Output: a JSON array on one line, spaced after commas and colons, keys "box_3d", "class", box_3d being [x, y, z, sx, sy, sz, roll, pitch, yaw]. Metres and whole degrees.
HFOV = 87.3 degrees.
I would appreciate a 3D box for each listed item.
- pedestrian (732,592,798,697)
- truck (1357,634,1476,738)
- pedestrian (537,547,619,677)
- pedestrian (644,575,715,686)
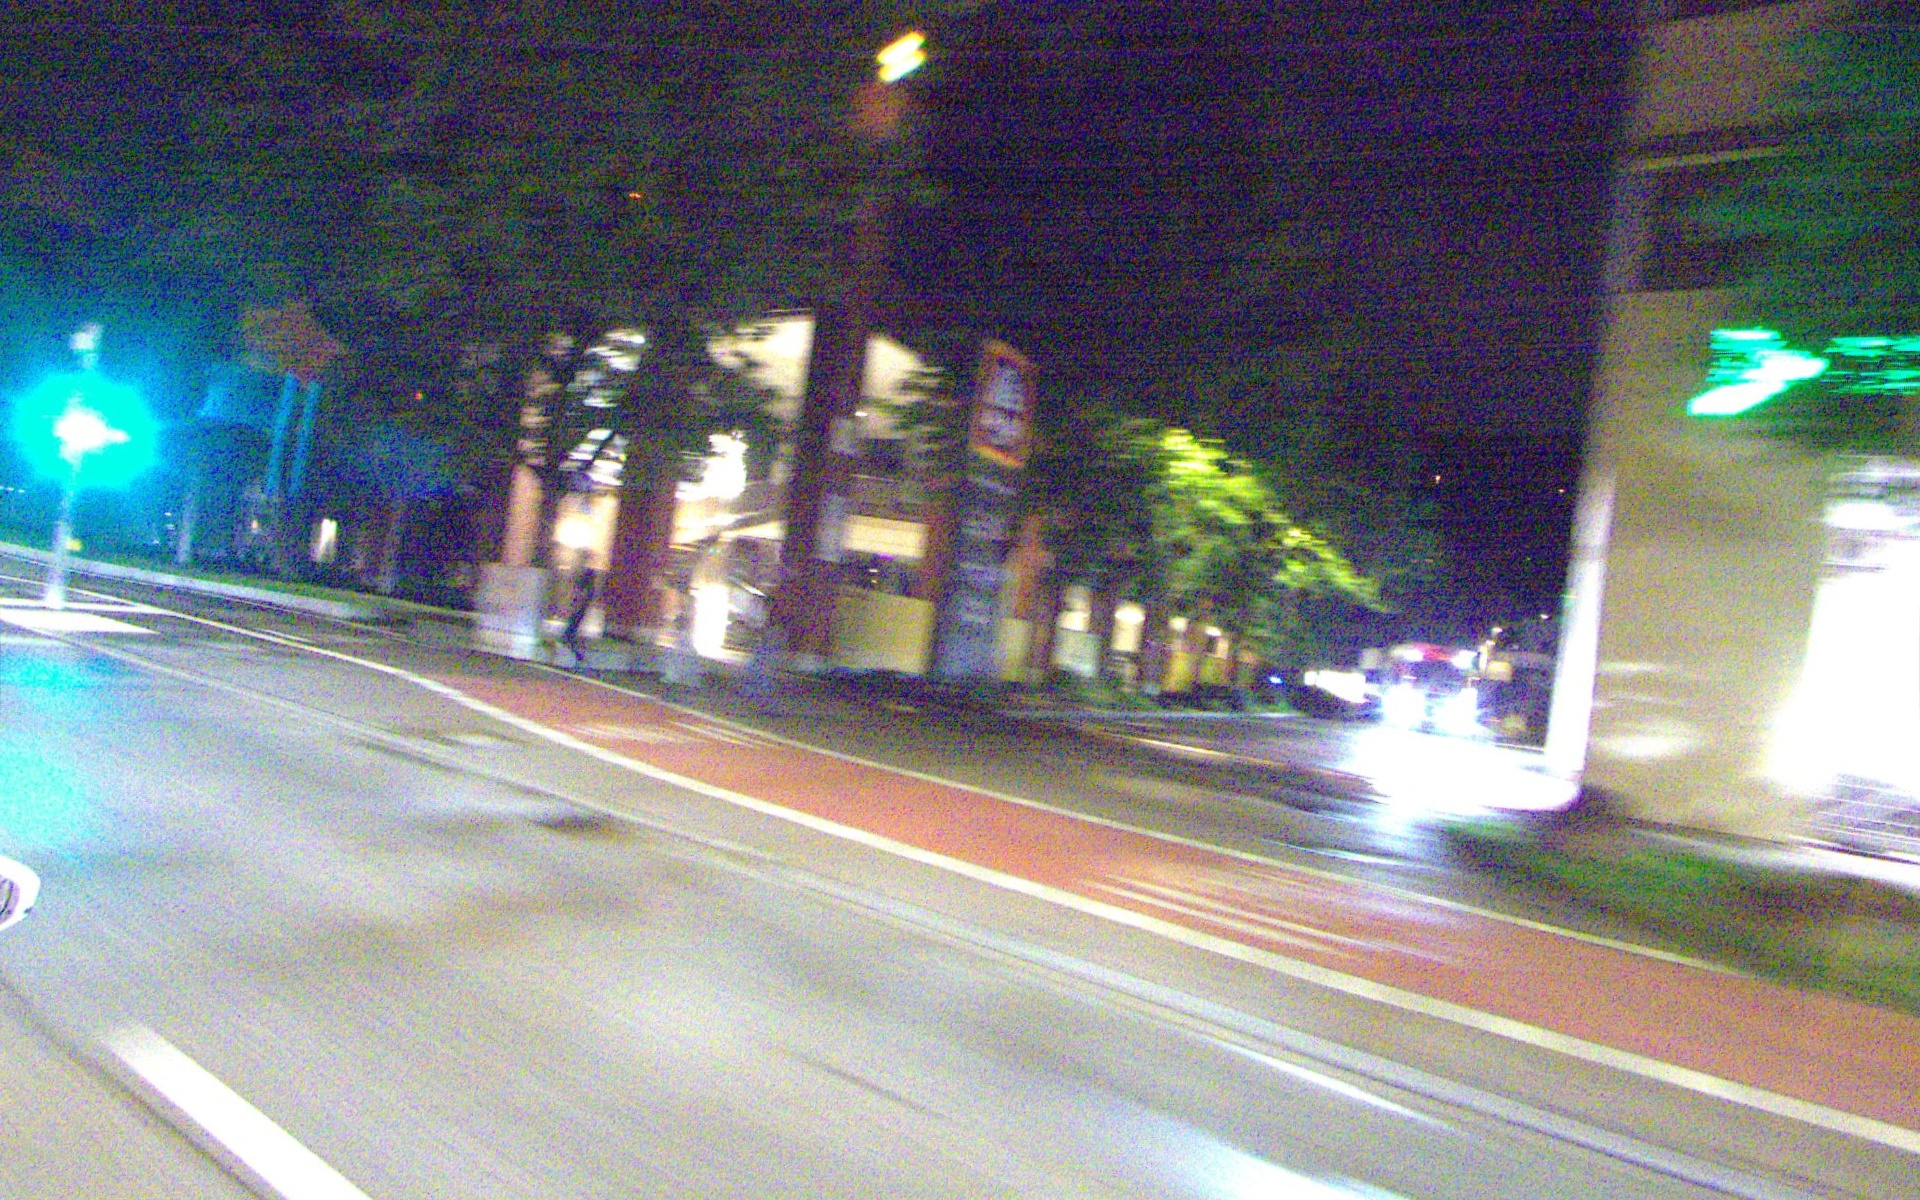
[{"box_3d": [-3.066, 0.704, 15.834, 0.623, 1.552, 0.573, 7, 0, 32], "class": "pedestrian"}, {"box_3d": [22.671, 4.299, 51.029, 3.073, 4.029, 16.851, 7, -2, 18], "class": "truck"}, {"box_3d": [-5.712, 0.179, 15.061, 0.746, 1.833, 0.622, 7, 0, 32], "class": "pedestrian"}, {"box_3d": [-4.451, 0.484, 15.983, 0.668, 1.658, 0.622, 7, 0, 32], "class": "pedestrian"}]
